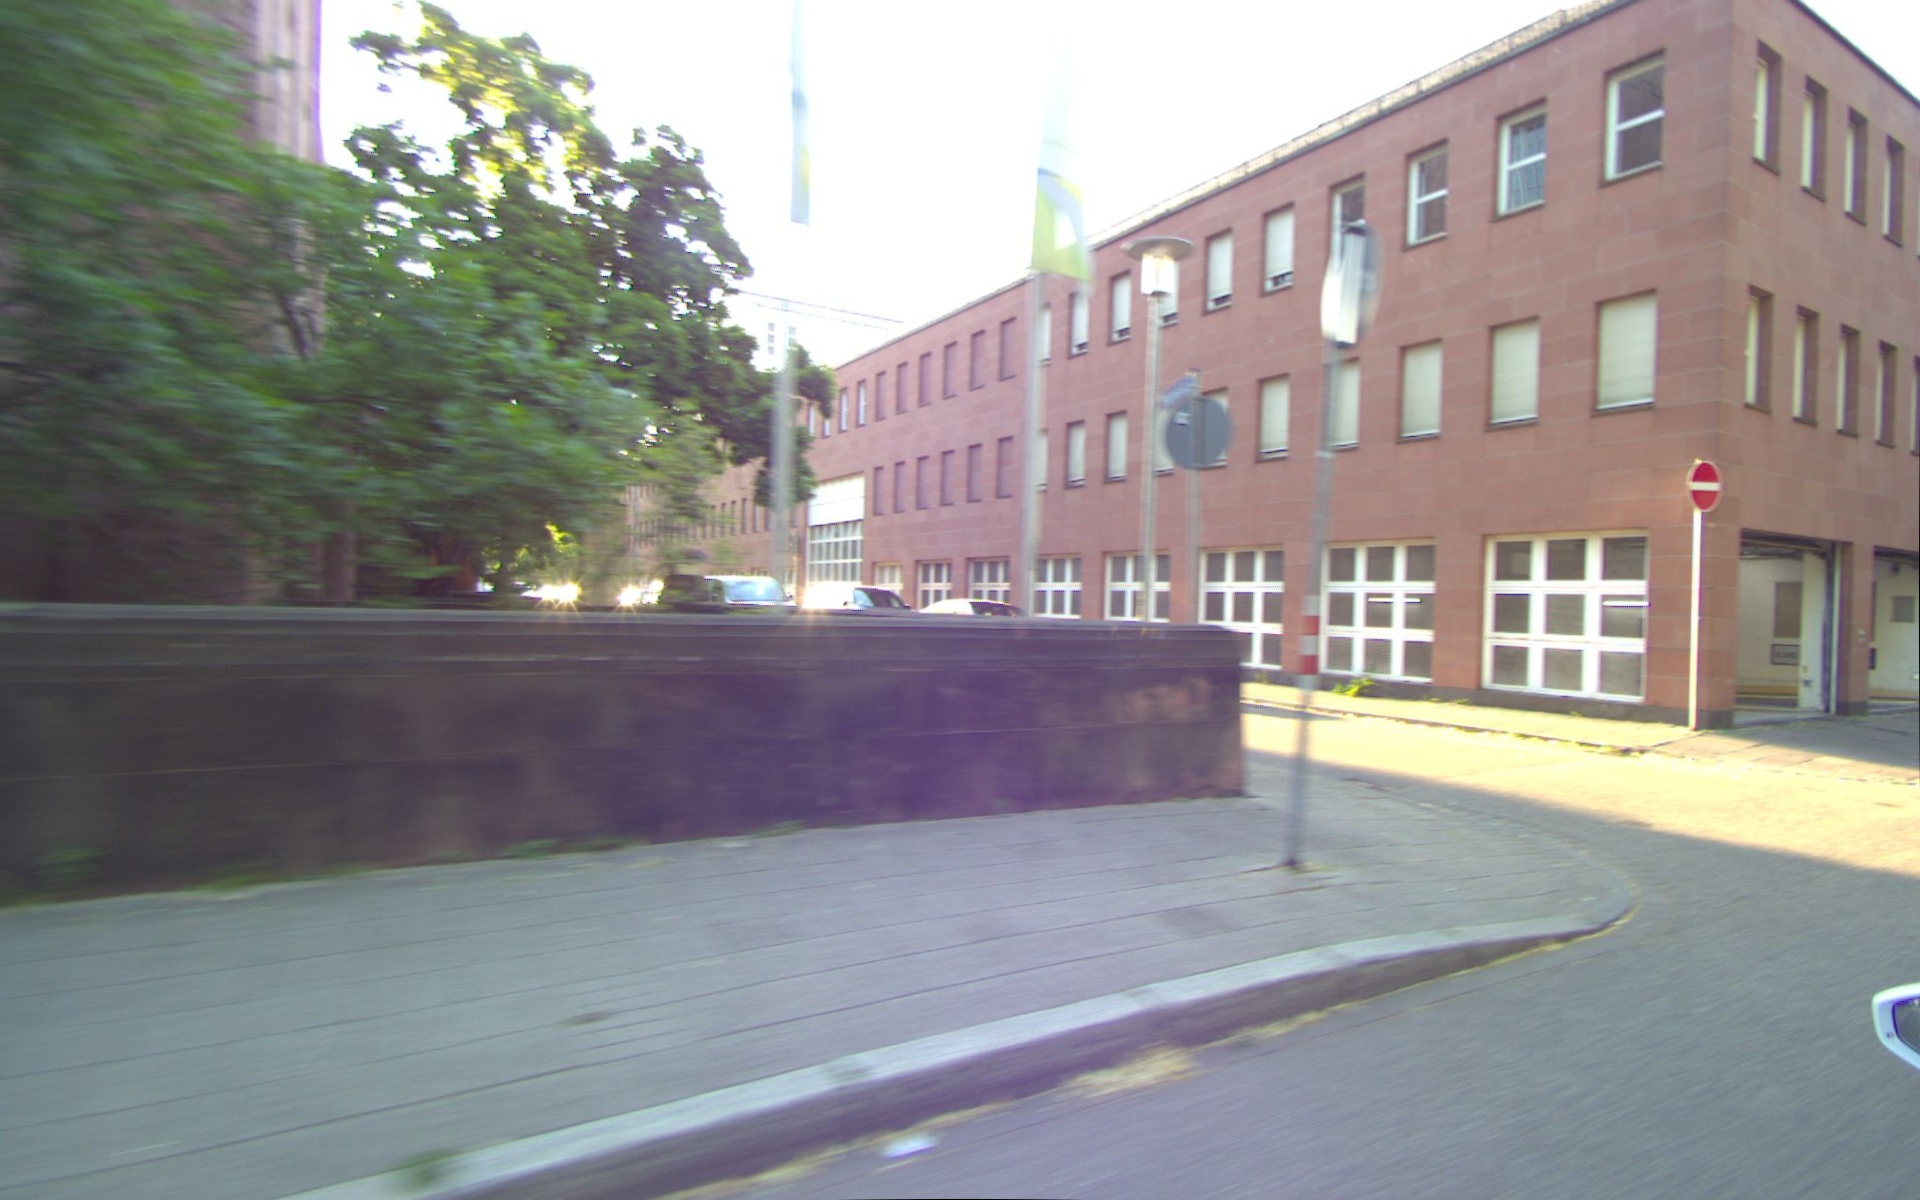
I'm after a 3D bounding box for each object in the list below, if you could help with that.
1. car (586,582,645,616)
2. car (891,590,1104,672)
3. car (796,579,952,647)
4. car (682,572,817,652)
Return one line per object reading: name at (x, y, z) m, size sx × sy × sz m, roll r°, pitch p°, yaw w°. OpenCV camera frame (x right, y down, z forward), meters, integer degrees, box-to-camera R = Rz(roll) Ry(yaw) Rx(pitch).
car at (-17.952, -0.079, 52.266) m, size 1.978 × 1.583 × 4.371 m, roll 4°, pitch -1°, yaw -31°
car at (0.620, 0.587, 21.263) m, size 1.978 × 1.430 × 5.064 m, roll 4°, pitch -1°, yaw -31°
car at (-2.379, 0.281, 26.193) m, size 1.978 × 1.528 × 5.065 m, roll 4°, pitch -1°, yaw -31°
car at (-5.649, 0.232, 26.461) m, size 1.977 × 1.900 × 5.066 m, roll 0°, pitch 1°, yaw -30°
